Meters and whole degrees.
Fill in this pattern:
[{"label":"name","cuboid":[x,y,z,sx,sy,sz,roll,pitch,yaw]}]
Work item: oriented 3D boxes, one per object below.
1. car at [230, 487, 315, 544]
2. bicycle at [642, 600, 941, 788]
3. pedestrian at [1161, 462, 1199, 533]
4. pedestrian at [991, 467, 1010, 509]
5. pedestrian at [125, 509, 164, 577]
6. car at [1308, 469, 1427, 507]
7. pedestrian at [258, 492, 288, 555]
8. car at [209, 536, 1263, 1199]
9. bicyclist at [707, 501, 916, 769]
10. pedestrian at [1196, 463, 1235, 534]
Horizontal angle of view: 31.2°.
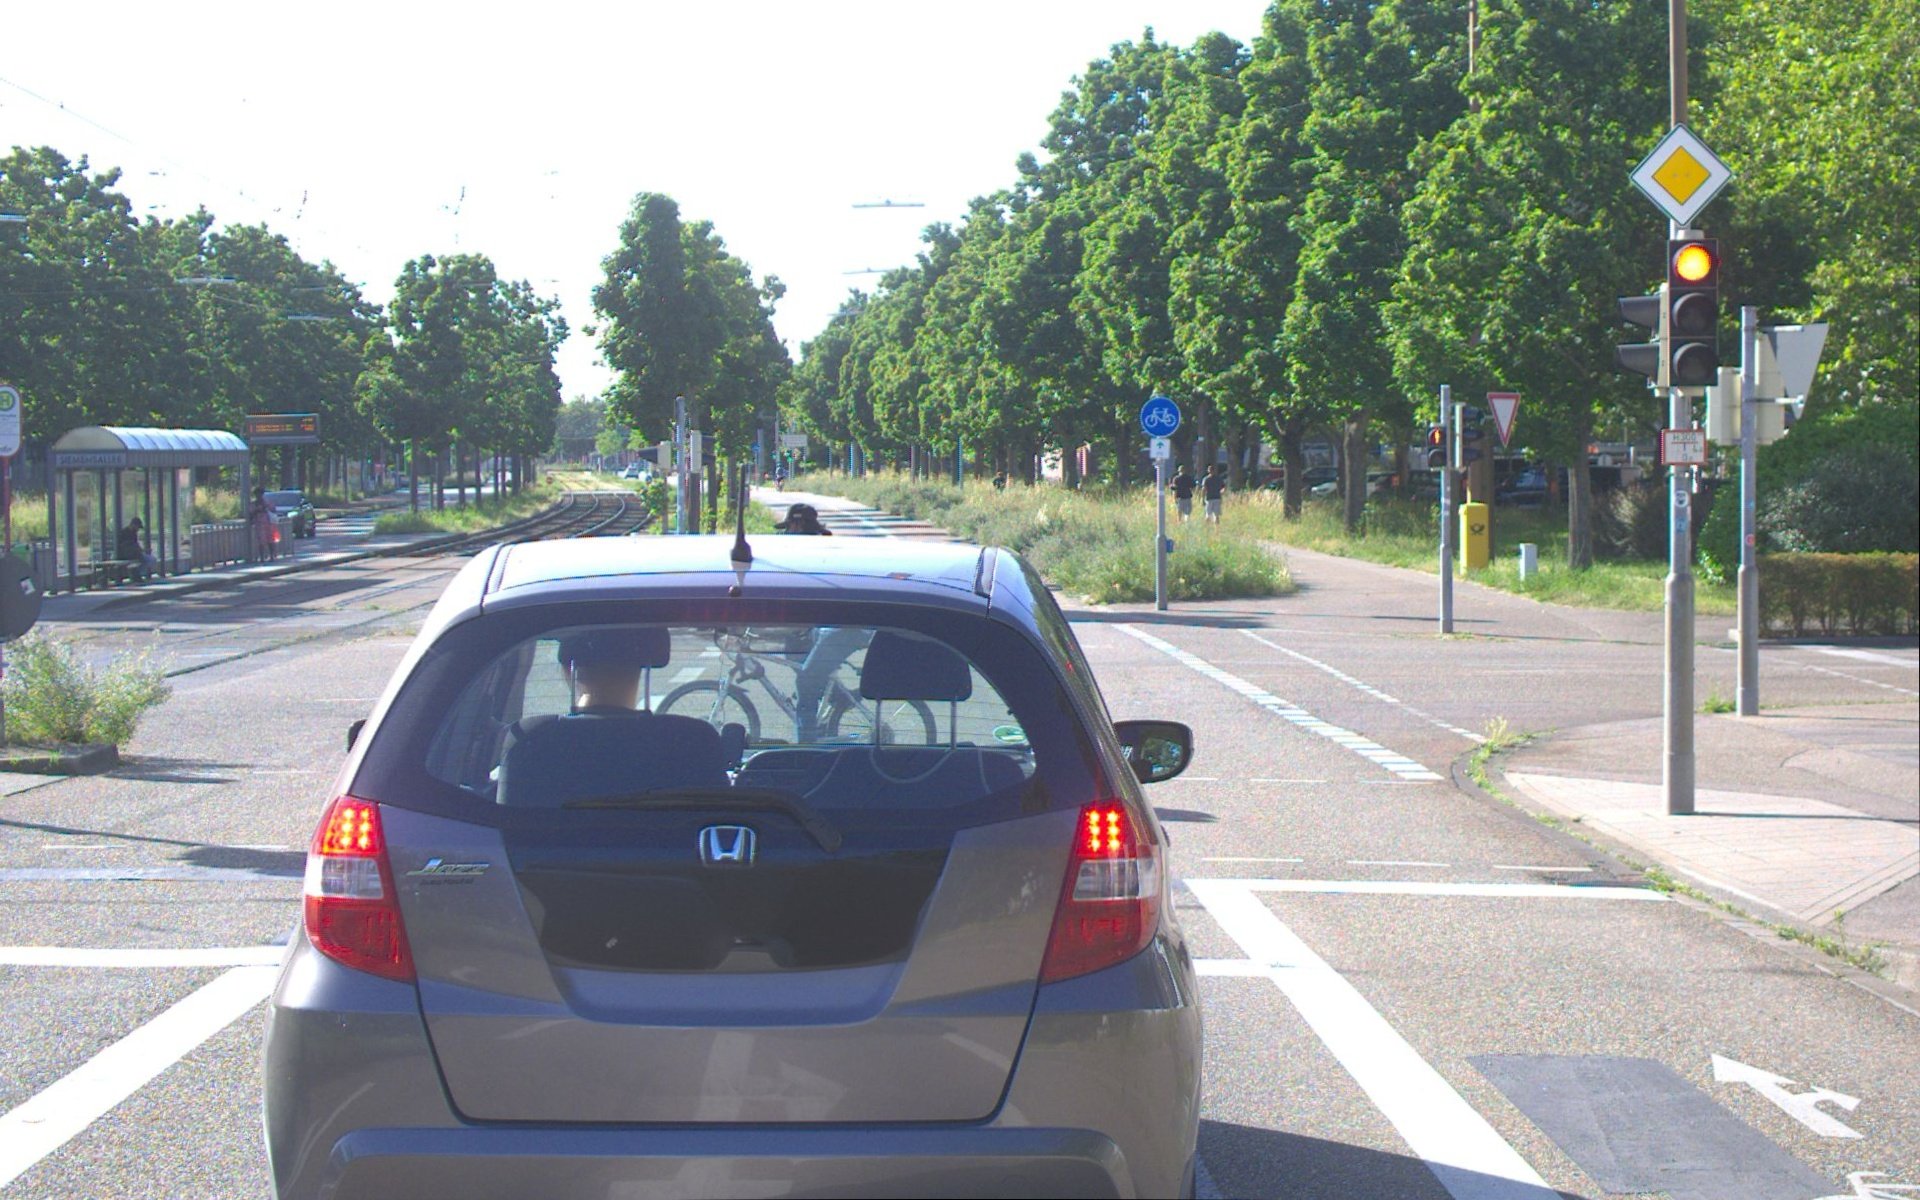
[{"label":"car","cuboid":[-23.695,-2.944,118.659,2.093,1.803,4.794,-2,3,-3]},{"label":"bicycle","cuboid":[-1.014,0.561,20.838,1.775,1.098,0.699,0,1,-1]},{"label":"pedestrian","cuboid":[5.852,-2.719,91.393,0.882,1.877,0.875,-1,2,-4]},{"label":"pedestrian","cuboid":[1.632,-4.531,139.380,0.725,1.685,0.821,0,0,-3]},{"label":"pedestrian","cuboid":[-15.547,-1.086,65.527,0.563,1.252,0.581,-3,1,-1]},{"label":"car","cuboid":[17.123,-4.714,144.528,4.630,1.550,2.001,-1,2,-6]},{"label":"pedestrian","cuboid":[-16.000,-1.781,80.080,0.544,1.442,0.559,-1,1,-1]},{"label":"car","cuboid":[-0.386,0.631,7.431,1.701,1.518,3.710,0,1,-1]},{"label":"bicyclist","cuboid":[-0.895,0.201,20.816,1.232,1.588,0.805,0,1,-1]},{"label":"pedestrian","cuboid":[6.791,-2.706,91.411,0.882,1.877,0.875,-1,2,-4]}]
